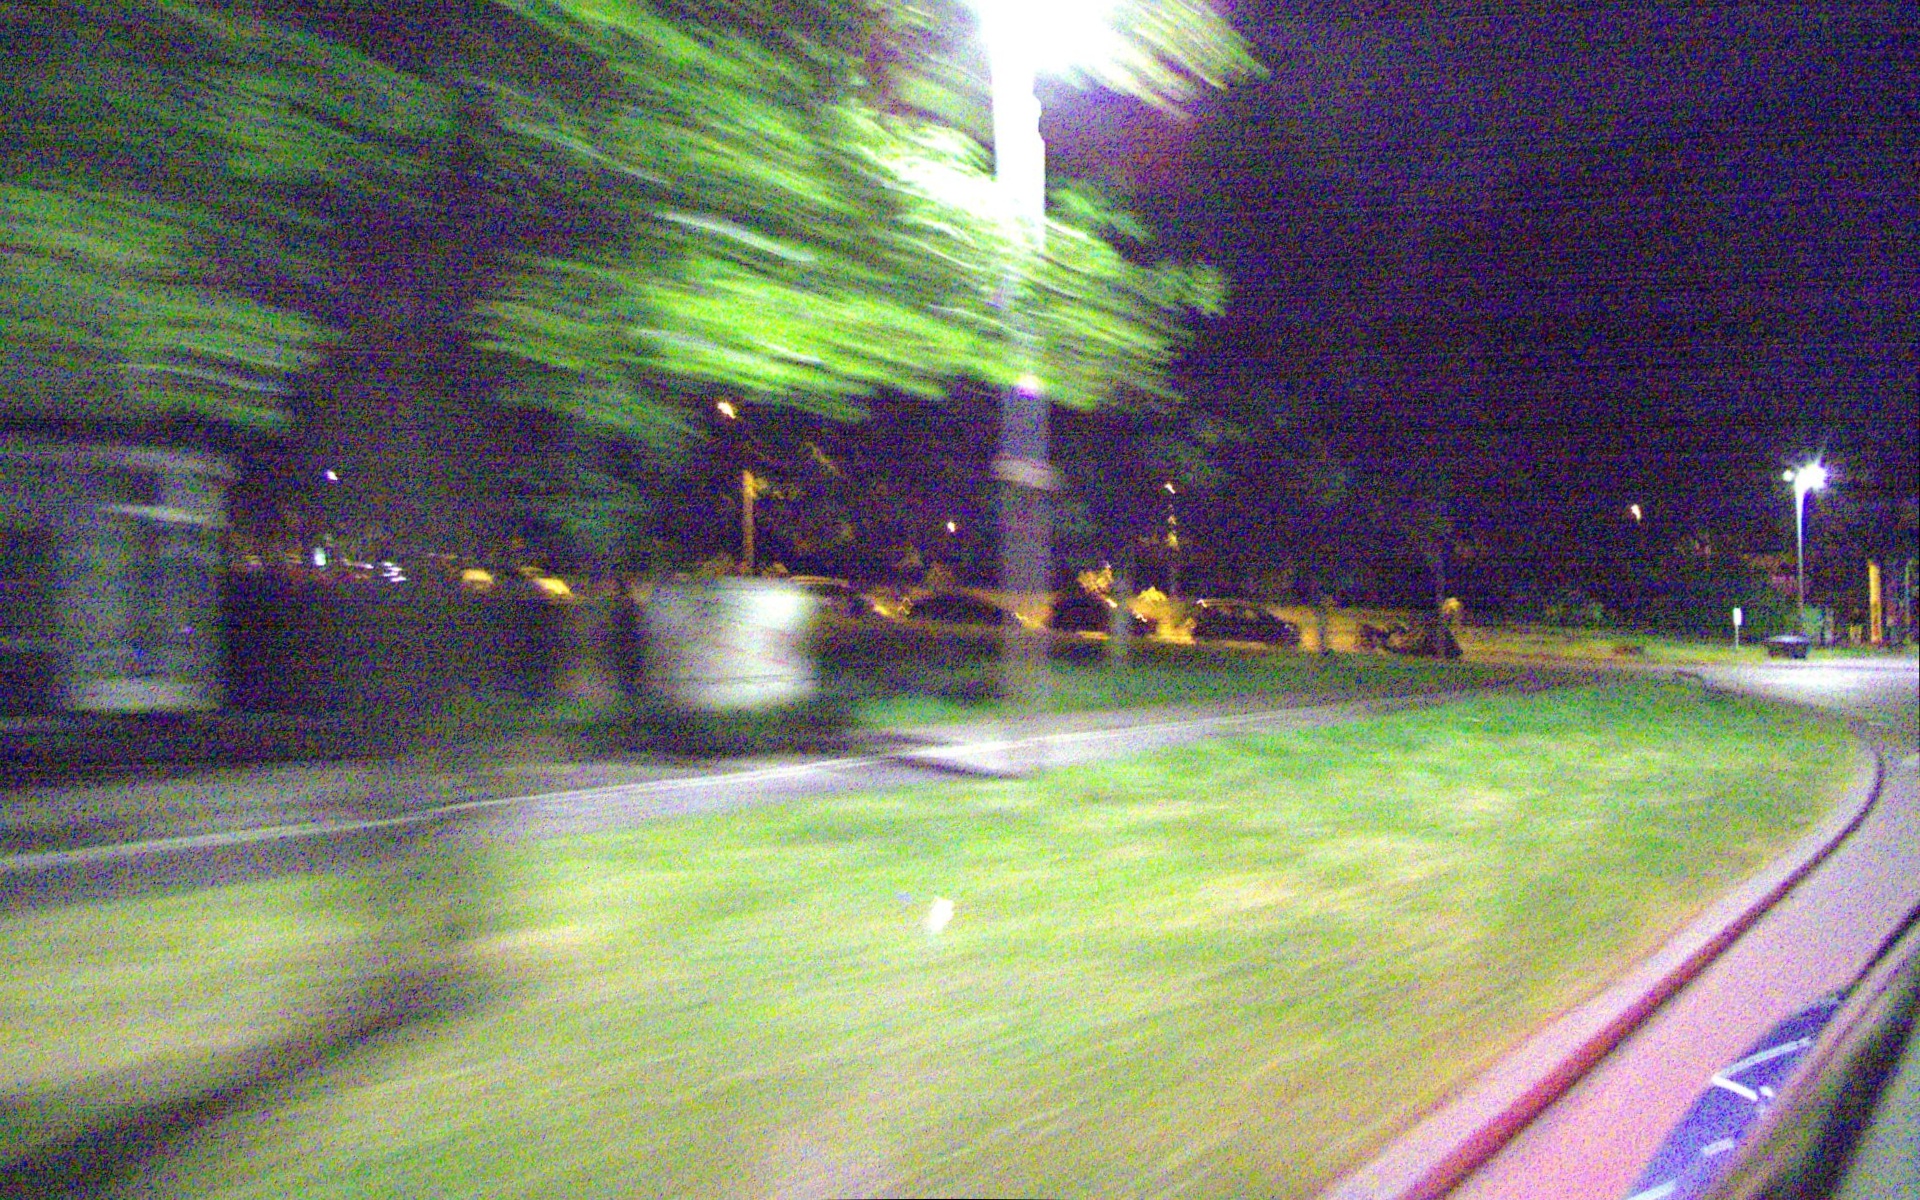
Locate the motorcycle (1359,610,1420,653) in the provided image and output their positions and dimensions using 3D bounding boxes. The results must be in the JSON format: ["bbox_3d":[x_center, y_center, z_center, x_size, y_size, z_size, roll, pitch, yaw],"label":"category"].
[{"bbox_3d":[12.670,0.908,29.862,1.560,1.148,0.572,3,1,31],"label":"motorcycle"}]

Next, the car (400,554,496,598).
[{"bbox_3d":[-24.402,-1.167,48.204,4.856,1.904,1.909,3,1,33],"label":"car"}]

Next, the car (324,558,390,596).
[{"bbox_3d":[-32.150,-1.249,53.914,3.928,1.904,1.903,3,2,41],"label":"car"}]

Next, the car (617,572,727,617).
[{"bbox_3d":[-12.107,-0.235,42.559,4.113,1.693,1.918,2,1,22],"label":"car"}]

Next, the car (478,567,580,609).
[{"bbox_3d":[-19.375,-0.561,45.502,4.117,1.693,1.916,3,1,24],"label":"car"}]

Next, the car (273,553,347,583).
[{"bbox_3d":[-36.966,-1.831,57.531,3.969,1.538,1.978,3,1,31],"label":"car"}]

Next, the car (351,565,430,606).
[{"bbox_3d":[-28.858,-0.765,51.274,3.916,1.904,1.909,3,1,33],"label":"car"}]

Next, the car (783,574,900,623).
[{"bbox_3d":[-4.616,-0.081,39.545,4.113,1.693,1.918,2,1,22],"label":"car"}]

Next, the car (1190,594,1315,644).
[{"bbox_3d":[9.496,0.579,32.920,3.528,1.387,1.737,3,1,36],"label":"car"}]

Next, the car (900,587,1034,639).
[{"bbox_3d":[0.271,0.440,37.686,4.598,1.693,1.918,3,1,22],"label":"car"}]

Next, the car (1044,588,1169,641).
[{"bbox_3d":[5.144,0.459,35.511,3.966,1.618,1.742,3,1,28],"label":"car"}]
